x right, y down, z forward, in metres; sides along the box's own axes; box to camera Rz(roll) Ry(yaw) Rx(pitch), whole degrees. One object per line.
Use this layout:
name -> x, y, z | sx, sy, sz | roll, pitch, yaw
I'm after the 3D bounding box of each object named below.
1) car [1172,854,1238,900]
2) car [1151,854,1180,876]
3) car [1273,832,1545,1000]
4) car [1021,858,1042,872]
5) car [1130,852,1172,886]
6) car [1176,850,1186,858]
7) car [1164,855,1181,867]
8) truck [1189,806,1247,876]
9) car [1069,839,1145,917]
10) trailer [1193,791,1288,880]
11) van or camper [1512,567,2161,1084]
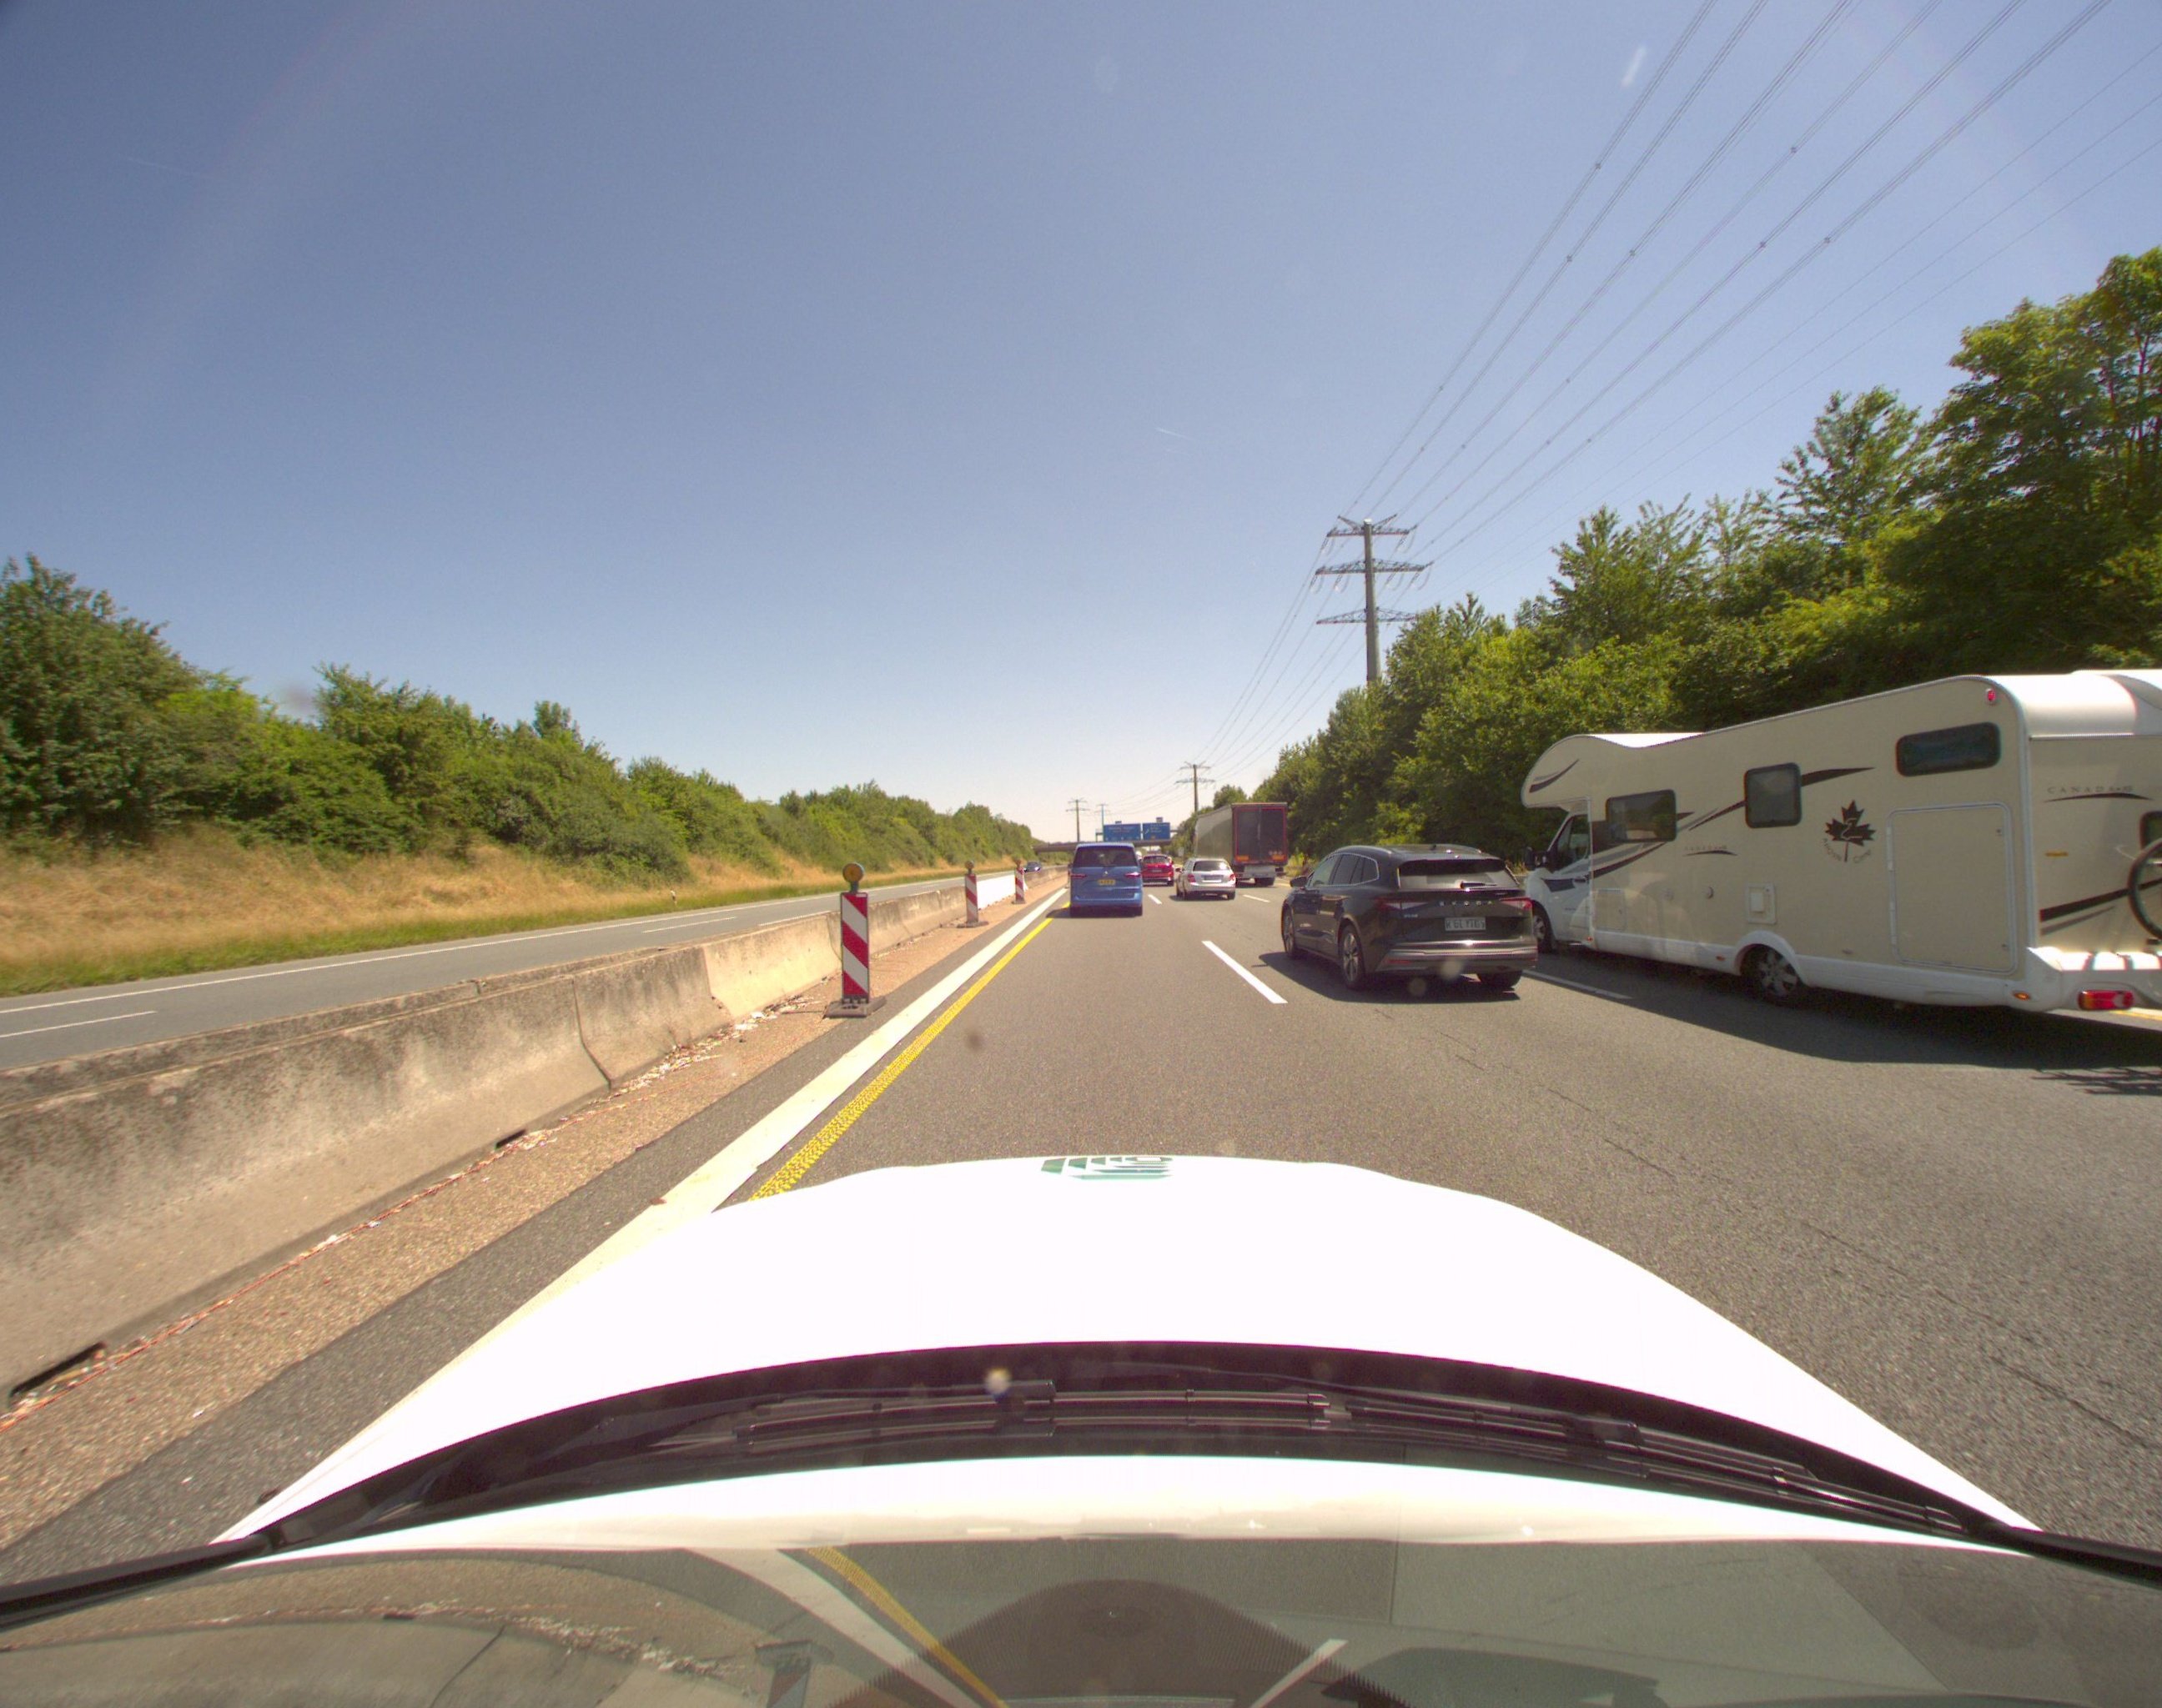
car -> 4.343, 0.787, 29.110 | 1.764, 1.517, 4.360 | 0, -1, 1
car -> 6.079, 0.783, 59.182 | 1.791, 1.594, 4.228 | 0, -1, 1
car -> 3.765, 0.632, 10.280 | 1.695, 1.655, 4.429 | 0, -1, 1
car -> -5.621, 1.267, 92.839 | 1.855, 1.490, 4.495 | -3, 0, 2
car -> 3.555, 0.763, 42.165 | 1.868, 1.671, 4.360 | 0, -1, 1
car -> 23.097, 0.044, 187.757 | 1.868, 1.671, 4.360 | 0, -1, 1
car -> 10.960, 0.818, 97.325 | 1.694, 1.448, 3.789 | 0, -1, 1
truck -> 8.378, -0.730, 50.521 | 2.723, 4.047, 5.794 | 0, -1, 1
car -> 0.664, 0.606, 22.311 | 1.868, 1.912, 4.360 | 0, -1, 1
trailer -> 8.197, -0.787, 43.868 | 2.773, 4.047, 13.113 | 0, -1, 1
van or camper -> 7.627, -0.146, 8.588 | 2.360, 3.043, 7.636 | 0, -1, 2
